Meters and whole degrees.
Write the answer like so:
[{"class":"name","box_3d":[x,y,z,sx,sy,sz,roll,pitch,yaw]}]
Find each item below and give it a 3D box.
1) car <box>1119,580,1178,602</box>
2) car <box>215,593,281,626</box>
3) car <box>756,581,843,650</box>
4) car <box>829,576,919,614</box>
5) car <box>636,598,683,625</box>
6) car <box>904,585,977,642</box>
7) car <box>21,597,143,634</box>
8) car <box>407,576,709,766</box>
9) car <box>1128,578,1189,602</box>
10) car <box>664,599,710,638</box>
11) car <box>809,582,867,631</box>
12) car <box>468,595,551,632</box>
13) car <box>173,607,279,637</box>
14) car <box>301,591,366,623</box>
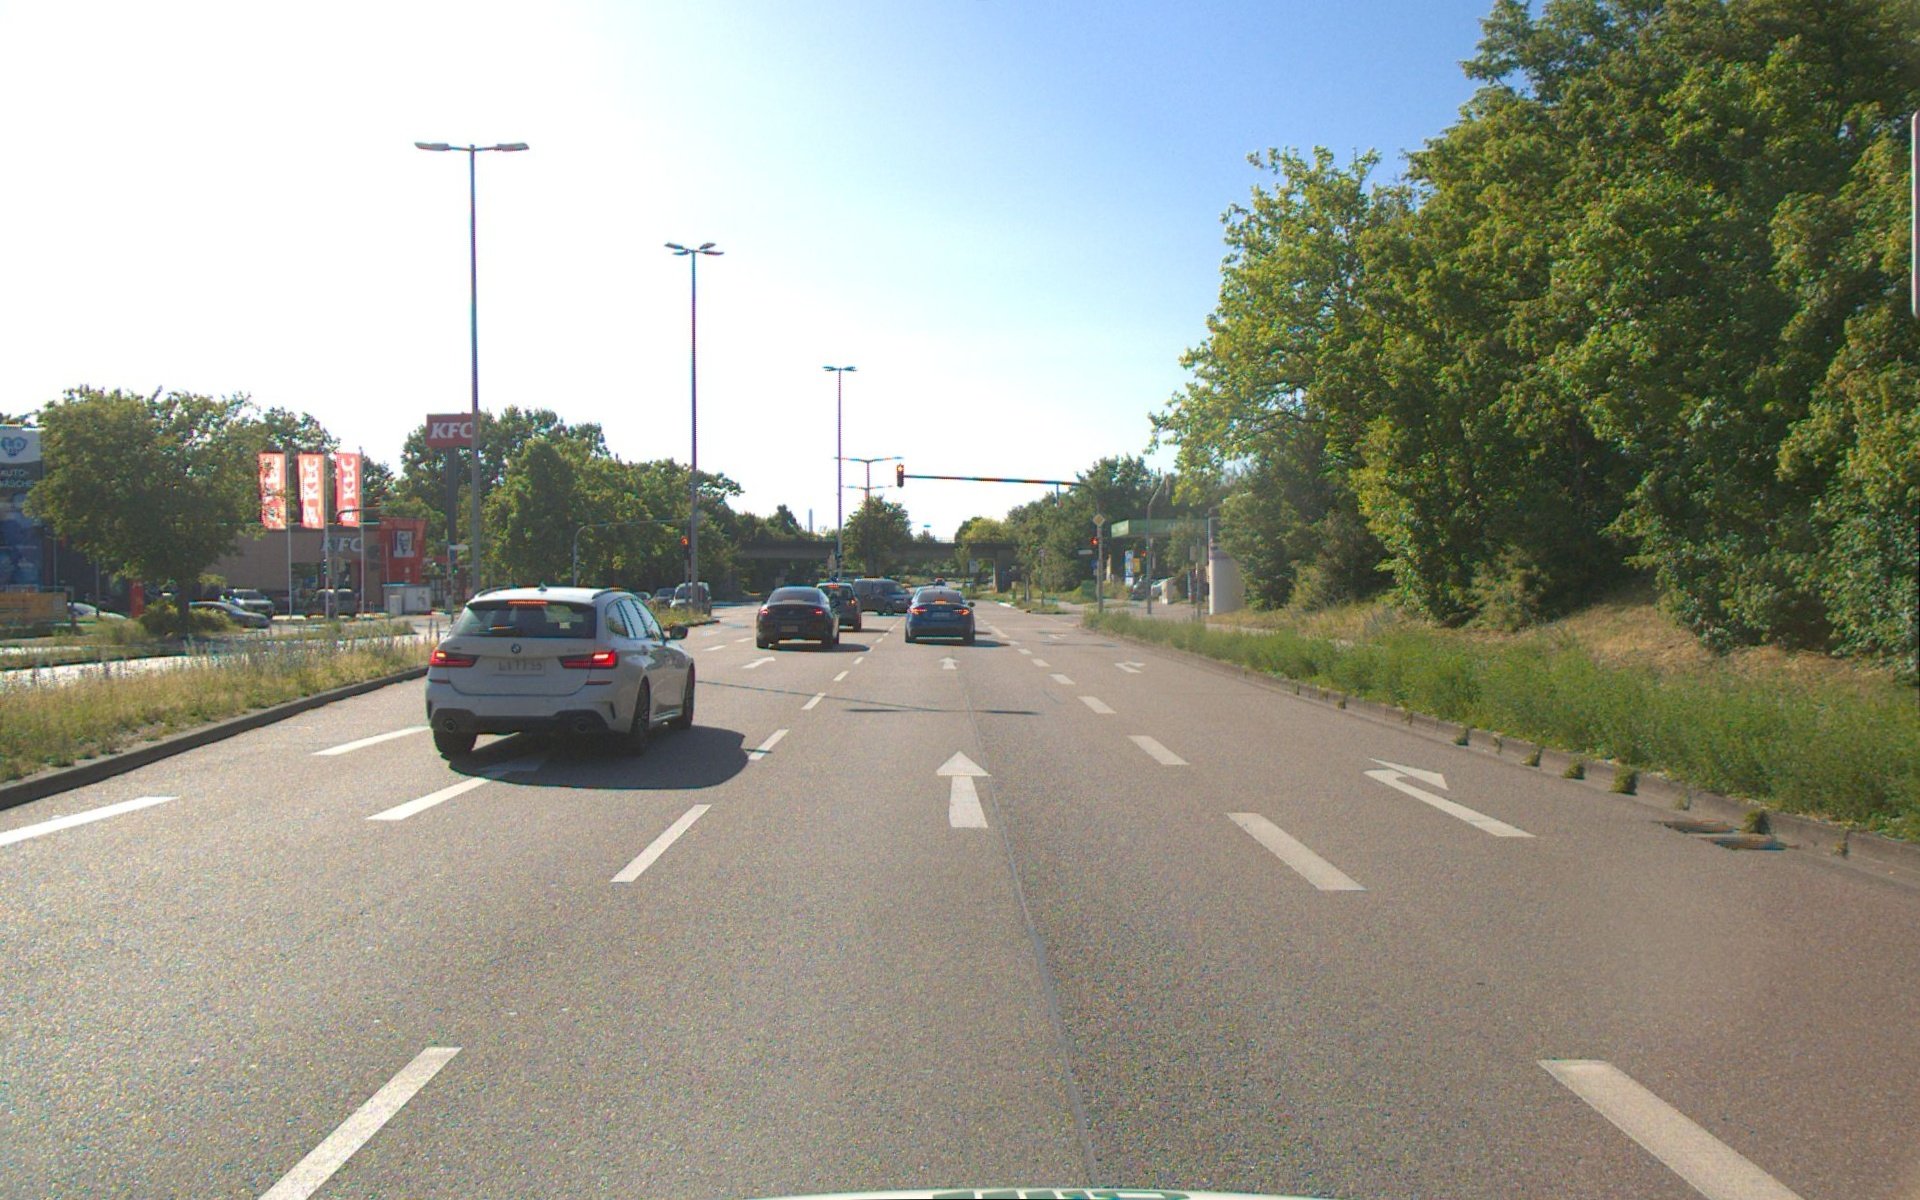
[{"class":"car","box_3d":[13.980,-0.646,122.752,3.925,1.579,1.990,1,0,-18]},{"class":"car","box_3d":[-39.634,0.499,92.043,4.026,1.770,1.922,1,0,43]},{"class":"car","box_3d":[-3.880,0.352,40.664,1.775,1.578,4.542,0,0,-1]},{"class":"car","box_3d":[-4.402,-0.267,84.042,4.508,1.908,1.810,0,1,39]},{"class":"car","box_3d":[-20.652,0.775,113.904,1.764,1.756,4.326,1,1,11]},{"class":"car","box_3d":[-0.488,0.356,45.224,1.870,1.447,3.719,1,0,1]},{"class":"car","box_3d":[-40.460,0.720,76.283,4.530,1.607,1.935,1,0,-3]},{"class":"car","box_3d":[-3.607,0.582,15.708,1.775,1.512,4.595,1,0,-1]},{"class":"car","box_3d":[13.667,-0.660,113.997,3.905,1.579,2.000,1,0,0]},{"class":"car","box_3d":[-13.703,0.925,83.145,1.644,1.880,4.294,1,0,-1]},{"class":"car","box_3d":[-4.141,0.227,56.494,1.776,1.578,4.351,1,0,-2]},{"class":"car","box_3d":[-23.392,0.690,85.930,1.961,1.845,3.757,1,0,37]},{"class":"car","box_3d":[-33.729,1.016,76.070,4.001,1.274,1.871,1,0,-3]},{"class":"car","box_3d":[-36.276,0.407,95.743,4.026,1.770,1.922,1,0,43]}]
